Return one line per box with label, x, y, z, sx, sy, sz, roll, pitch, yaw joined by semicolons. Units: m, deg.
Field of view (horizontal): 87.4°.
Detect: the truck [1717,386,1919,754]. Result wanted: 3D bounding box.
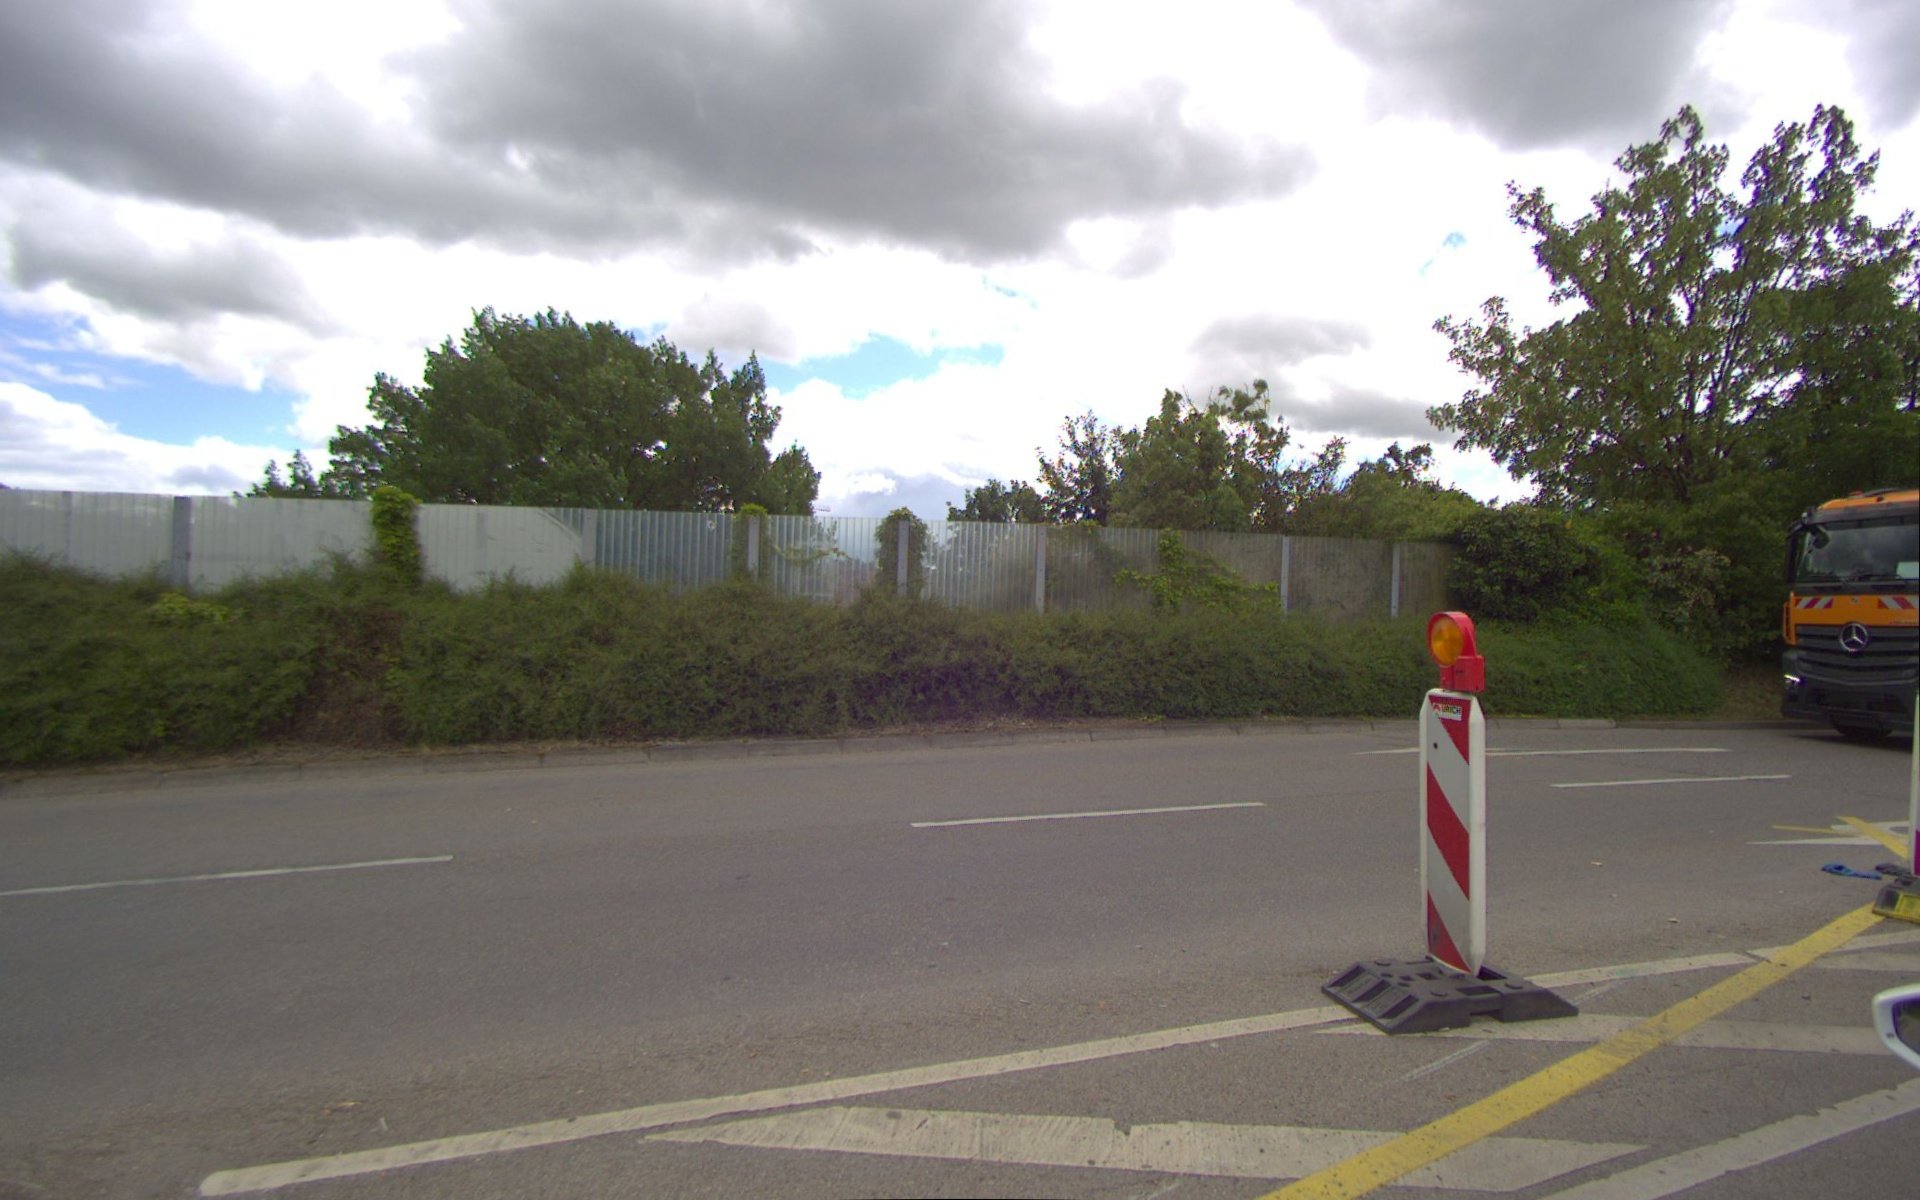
truck;15.806;-0.258;13.374;9.609;4.277;3.118;1;-1;-6
